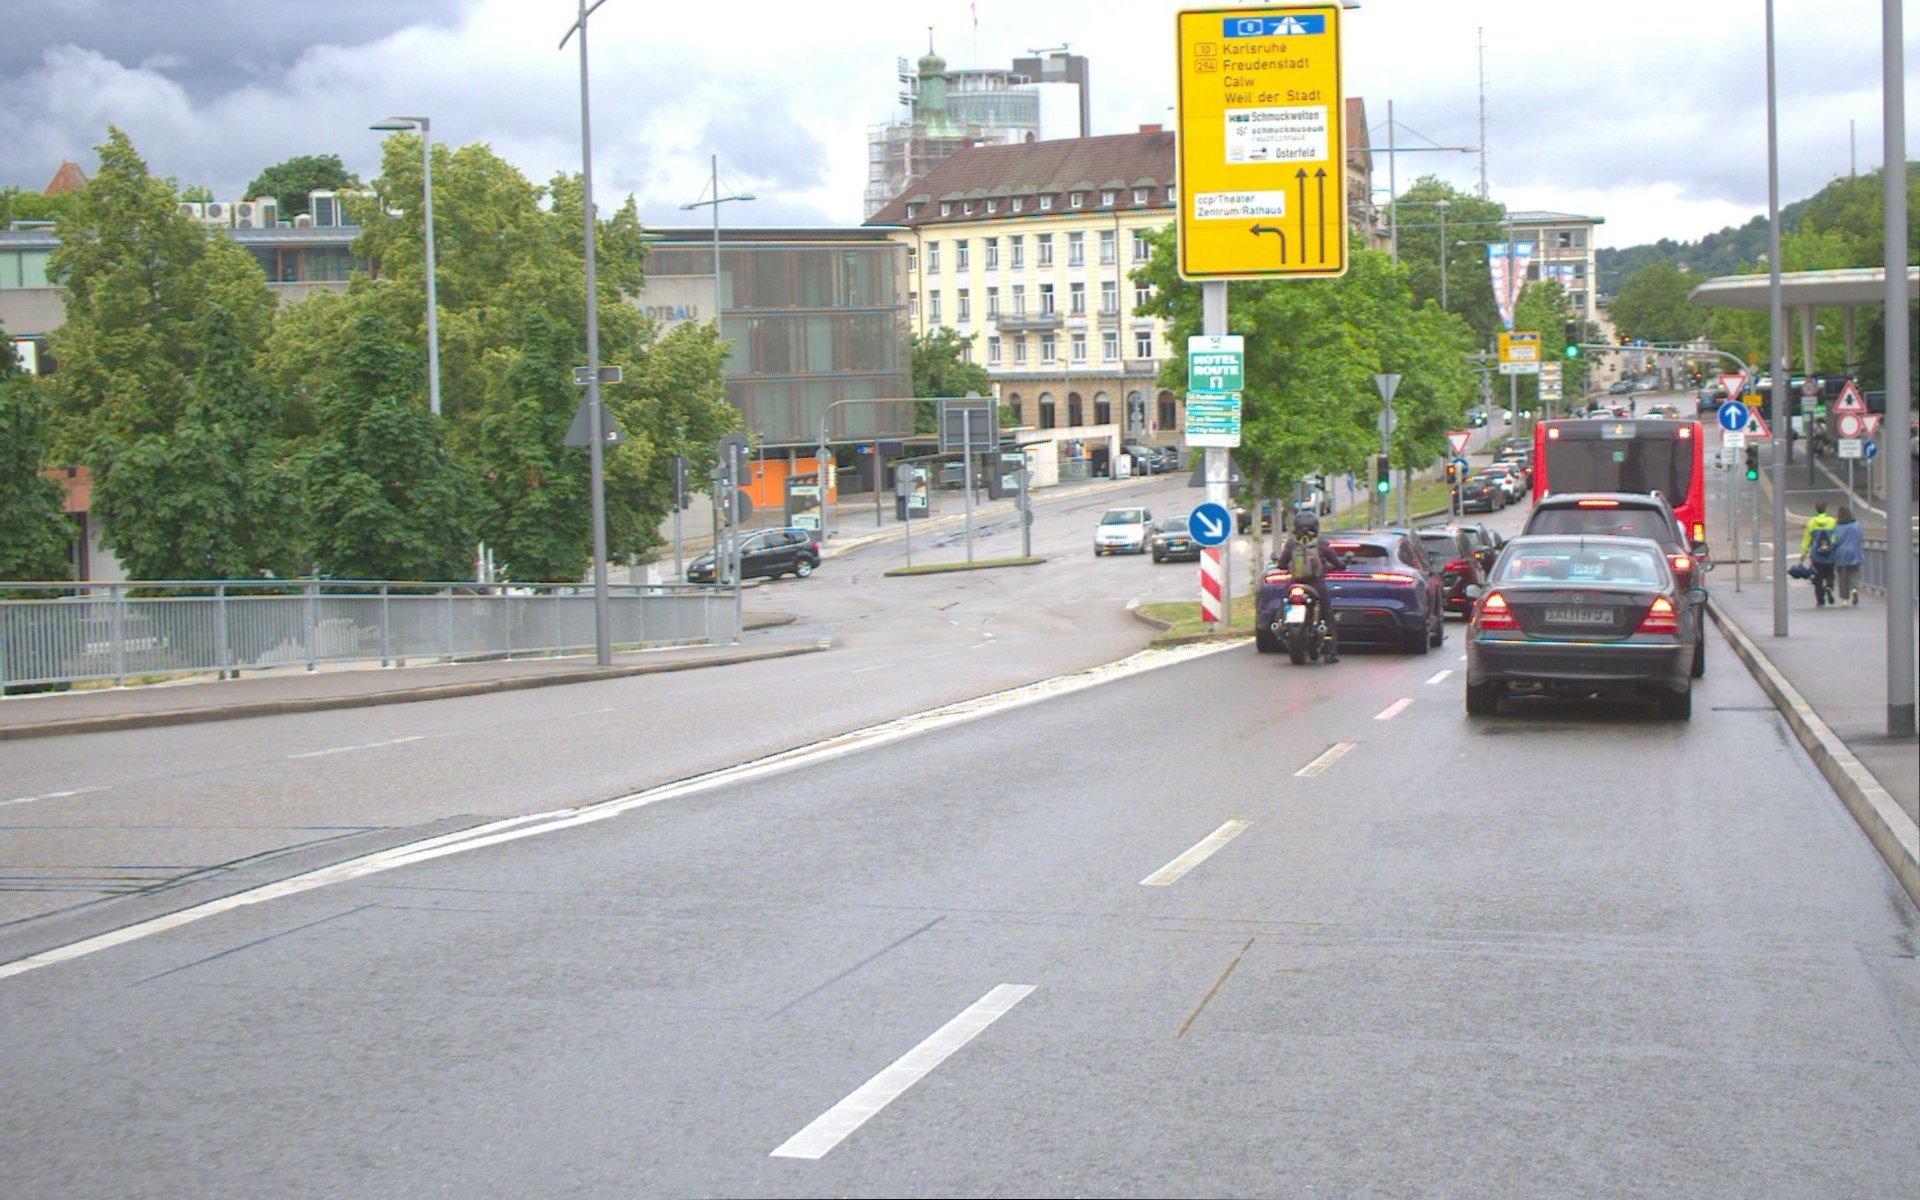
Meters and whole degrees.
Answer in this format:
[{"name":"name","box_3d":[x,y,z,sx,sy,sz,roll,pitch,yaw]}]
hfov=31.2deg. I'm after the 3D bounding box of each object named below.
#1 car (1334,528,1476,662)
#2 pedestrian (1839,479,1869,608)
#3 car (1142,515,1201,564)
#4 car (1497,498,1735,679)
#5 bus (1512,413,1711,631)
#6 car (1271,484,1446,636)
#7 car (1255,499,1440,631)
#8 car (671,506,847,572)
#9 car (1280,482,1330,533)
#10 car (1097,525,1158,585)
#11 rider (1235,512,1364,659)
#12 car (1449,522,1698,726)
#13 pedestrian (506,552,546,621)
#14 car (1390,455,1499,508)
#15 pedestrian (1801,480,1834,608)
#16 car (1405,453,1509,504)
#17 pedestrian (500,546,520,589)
[{"name":"car","box_3d":[7.181,-0.123,55.186,1.994,1.999,3.998,1,2,11]},{"name":"pedestrian","box_3d":[14.083,-0.882,54.170,0.424,2.007,0.483,-1,-1,14]},{"name":"car","box_3d":[6.895,-1.983,111.781,1.833,1.521,4.594,-1,1,4]},{"name":"car","box_3d":[6.678,-0.171,34.719,1.828,1.681,3.997,1,2,18]},{"name":"bus","box_3d":[10.582,-1.304,55.629,2.829,3.178,10.304,1,2,11]},{"name":"car","box_3d":[5.586,-0.600,47.782,1.995,1.999,3.998,1,2,12]},{"name":"car","box_3d":[4.594,-0.454,40.336,1.761,1.431,3.998,1,2,12]},{"name":"car","box_3d":[-6.744,-2.081,115.577,5.611,2.006,2.000,-3,3,-33]},{"name":"car","box_3d":[14.472,-3.871,144.215,1.994,2.007,4.202,-1,0,5]},{"name":"car","box_3d":[5.862,-1.592,120.160,1.994,2.007,4.000,-1,1,4]},{"name":"rider","box_3d":[3.583,-0.178,36.097,0.882,1.467,2.194,2,2,18]},{"name":"car","box_3d":[4.866,0.131,26.943,1.707,1.414,3.724,2,2,13]},{"name":"pedestrian","box_3d":[-9.073,-0.281,71.871,0.648,1.404,0.530,-1,3,14]},{"name":"car","box_3d":[19.105,-4.661,135.543,3.990,2.006,1.999,-1,2,16]},{"name":"pedestrian","box_3d":[13.536,-0.883,54.278,0.490,2.007,0.469,-1,-1,14]},{"name":"car","box_3d":[20.471,-5.014,141.626,3.990,2.006,1.999,-1,2,16]},{"name":"pedestrian","box_3d":[-9.423,-0.685,71.969,0.301,0.870,0.298,-1,3,14]}]
